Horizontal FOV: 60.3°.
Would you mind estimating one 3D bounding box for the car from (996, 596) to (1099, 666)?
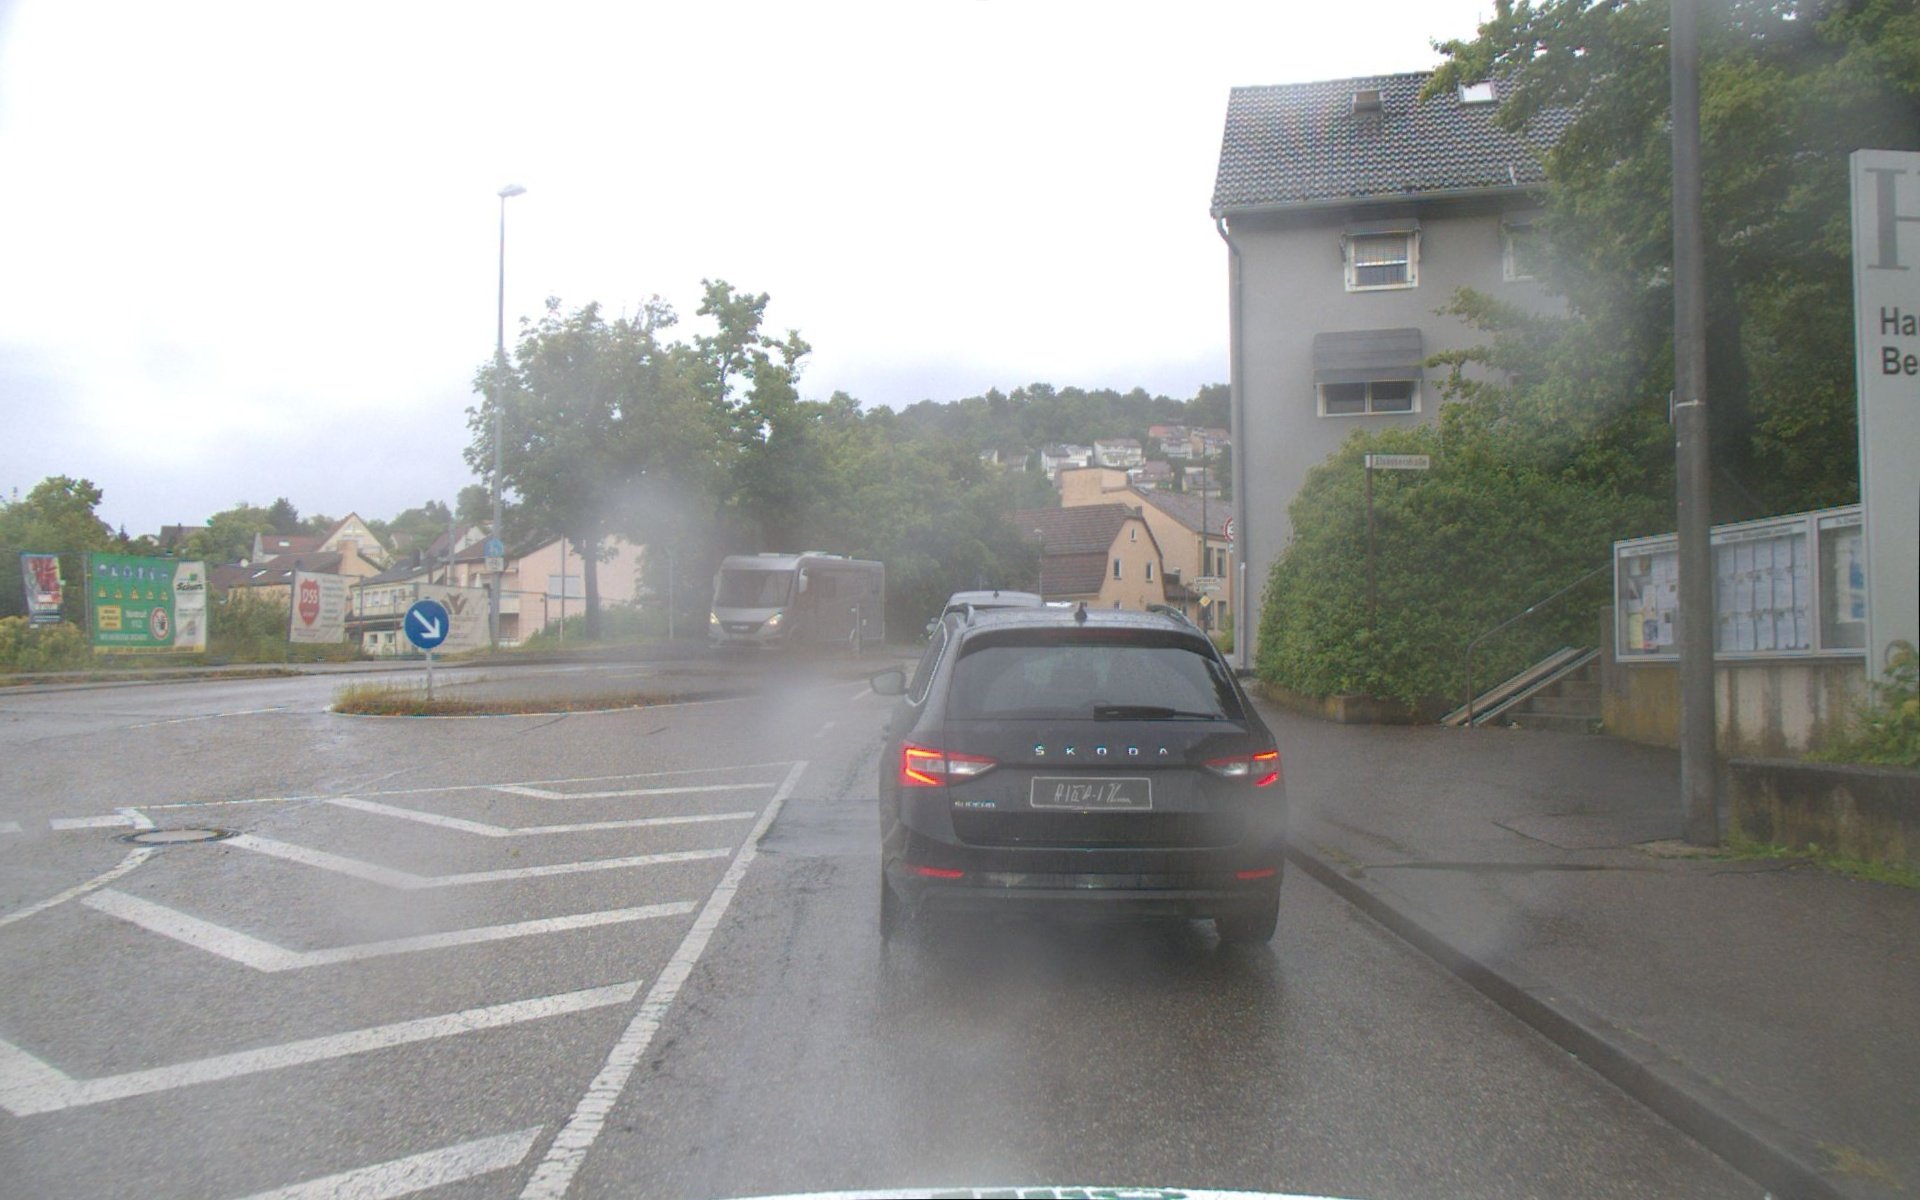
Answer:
[{"bbox_3d":[1.979,0.670,36.221,1.808,1.434,4.305,0,-1,9],"label":"car"}]

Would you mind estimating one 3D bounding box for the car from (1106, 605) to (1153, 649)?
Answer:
[{"bbox_3d":[6.314,0.982,61.315,1.534,1.557,4.003,0,0,9],"label":"car"}]

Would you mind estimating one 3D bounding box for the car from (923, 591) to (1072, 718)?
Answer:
[{"bbox_3d":[0.535,0.690,22.017,1.790,1.526,4.169,0,-1,2],"label":"car"}]

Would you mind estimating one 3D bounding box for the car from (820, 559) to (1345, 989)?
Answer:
[{"bbox_3d":[0.417,0.685,8.478,1.914,1.534,4.607,2,-1,-1],"label":"car"}]

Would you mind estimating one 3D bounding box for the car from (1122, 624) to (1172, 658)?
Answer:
[{"bbox_3d":[8.927,1.937,78.750,1.951,1.478,3.774,-3,-1,12],"label":"car"}]

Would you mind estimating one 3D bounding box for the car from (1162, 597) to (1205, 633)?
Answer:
[{"bbox_3d":[13.176,0.912,97.837,1.953,2.049,3.999,1,-1,0],"label":"car"}]

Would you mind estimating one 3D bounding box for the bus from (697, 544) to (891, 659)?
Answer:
[{"bbox_3d":[-4.114,0.015,42.789,2.346,2.723,7.051,0,0,18],"label":"bus"}]
